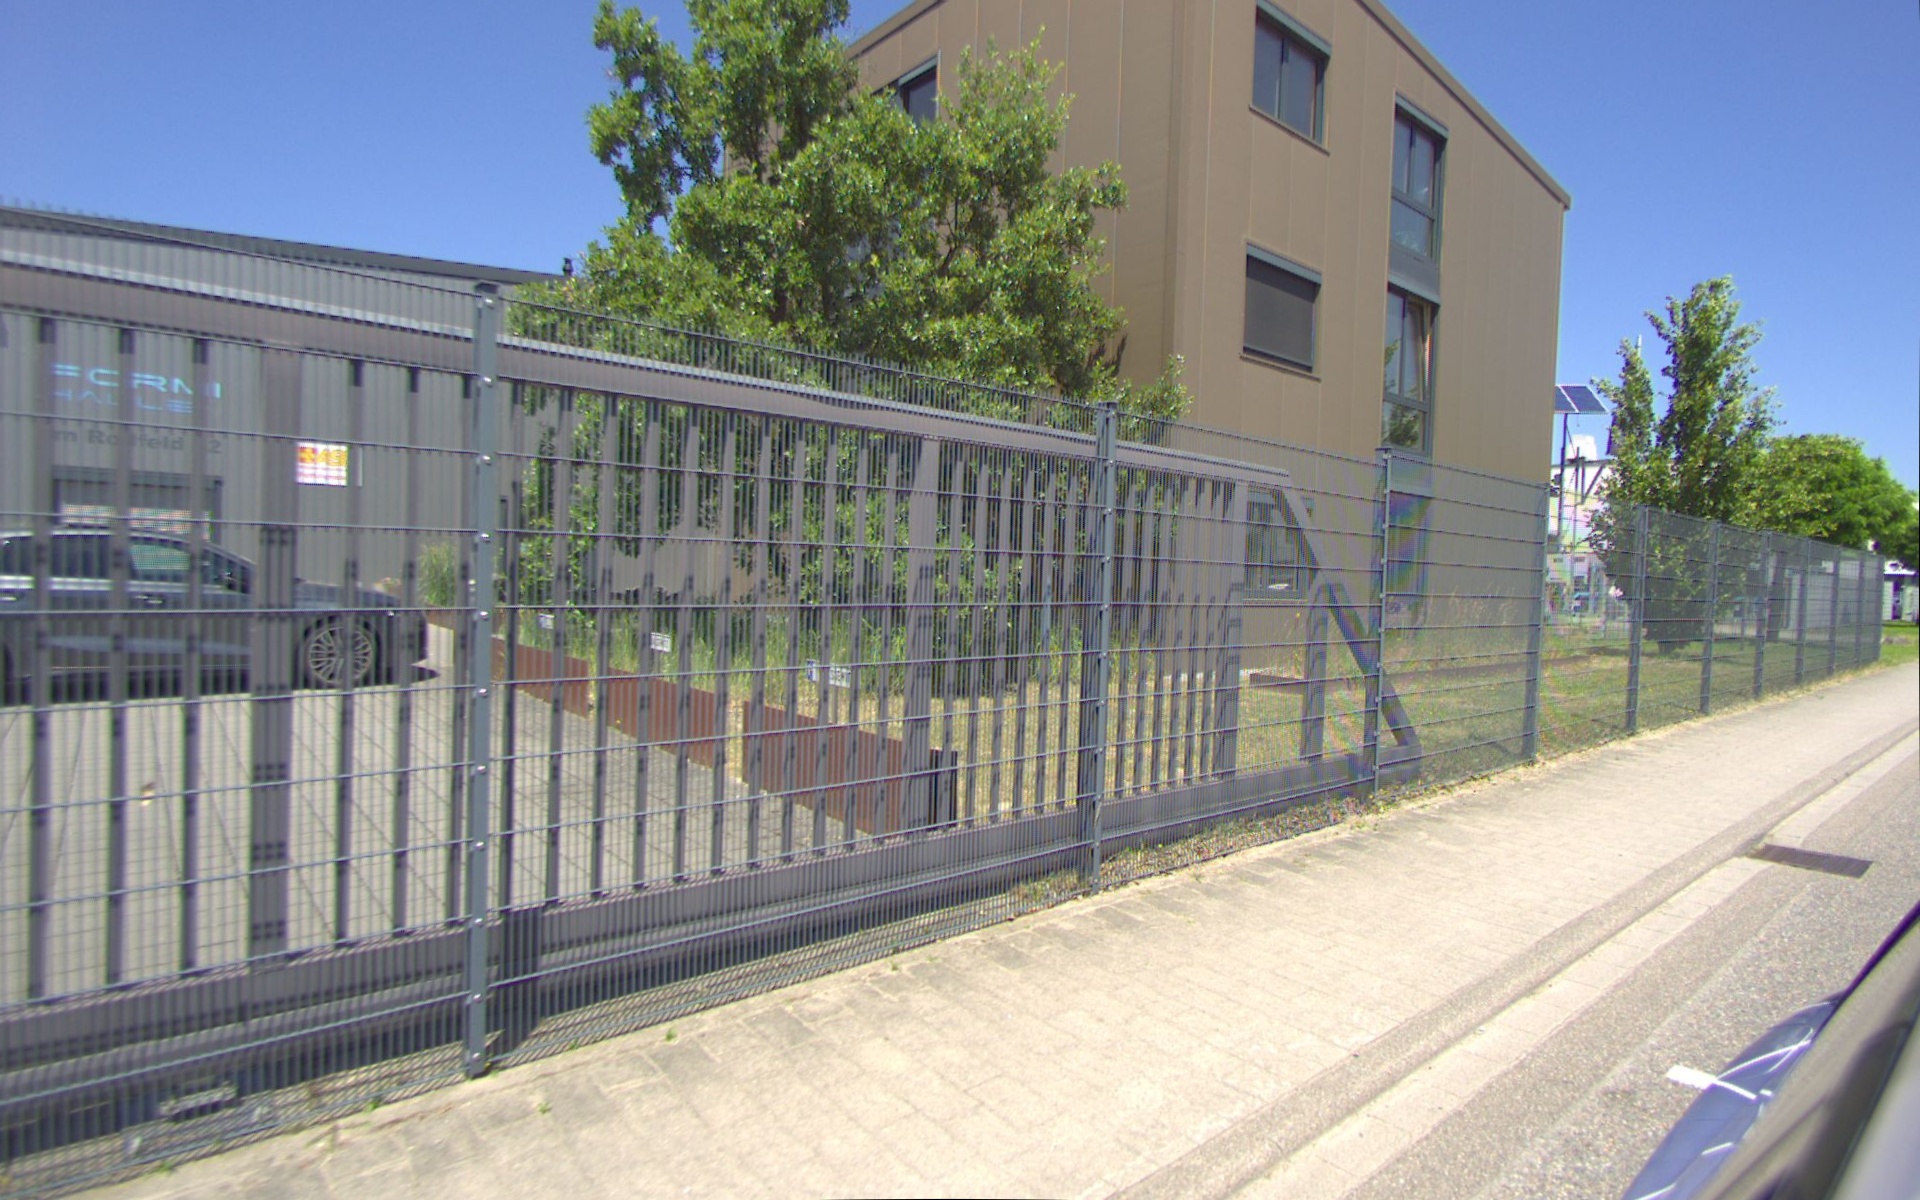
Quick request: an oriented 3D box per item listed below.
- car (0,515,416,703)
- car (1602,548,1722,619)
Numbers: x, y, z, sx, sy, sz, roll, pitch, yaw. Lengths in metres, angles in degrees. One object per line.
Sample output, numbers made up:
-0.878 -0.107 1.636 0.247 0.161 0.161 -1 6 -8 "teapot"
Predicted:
-7.266 0.024 9.100 3.930 1.461 1.659 0 3 -41 "car"
28.284 -0.655 40.666 6.902 2.524 2.135 0 4 -41 "car"
